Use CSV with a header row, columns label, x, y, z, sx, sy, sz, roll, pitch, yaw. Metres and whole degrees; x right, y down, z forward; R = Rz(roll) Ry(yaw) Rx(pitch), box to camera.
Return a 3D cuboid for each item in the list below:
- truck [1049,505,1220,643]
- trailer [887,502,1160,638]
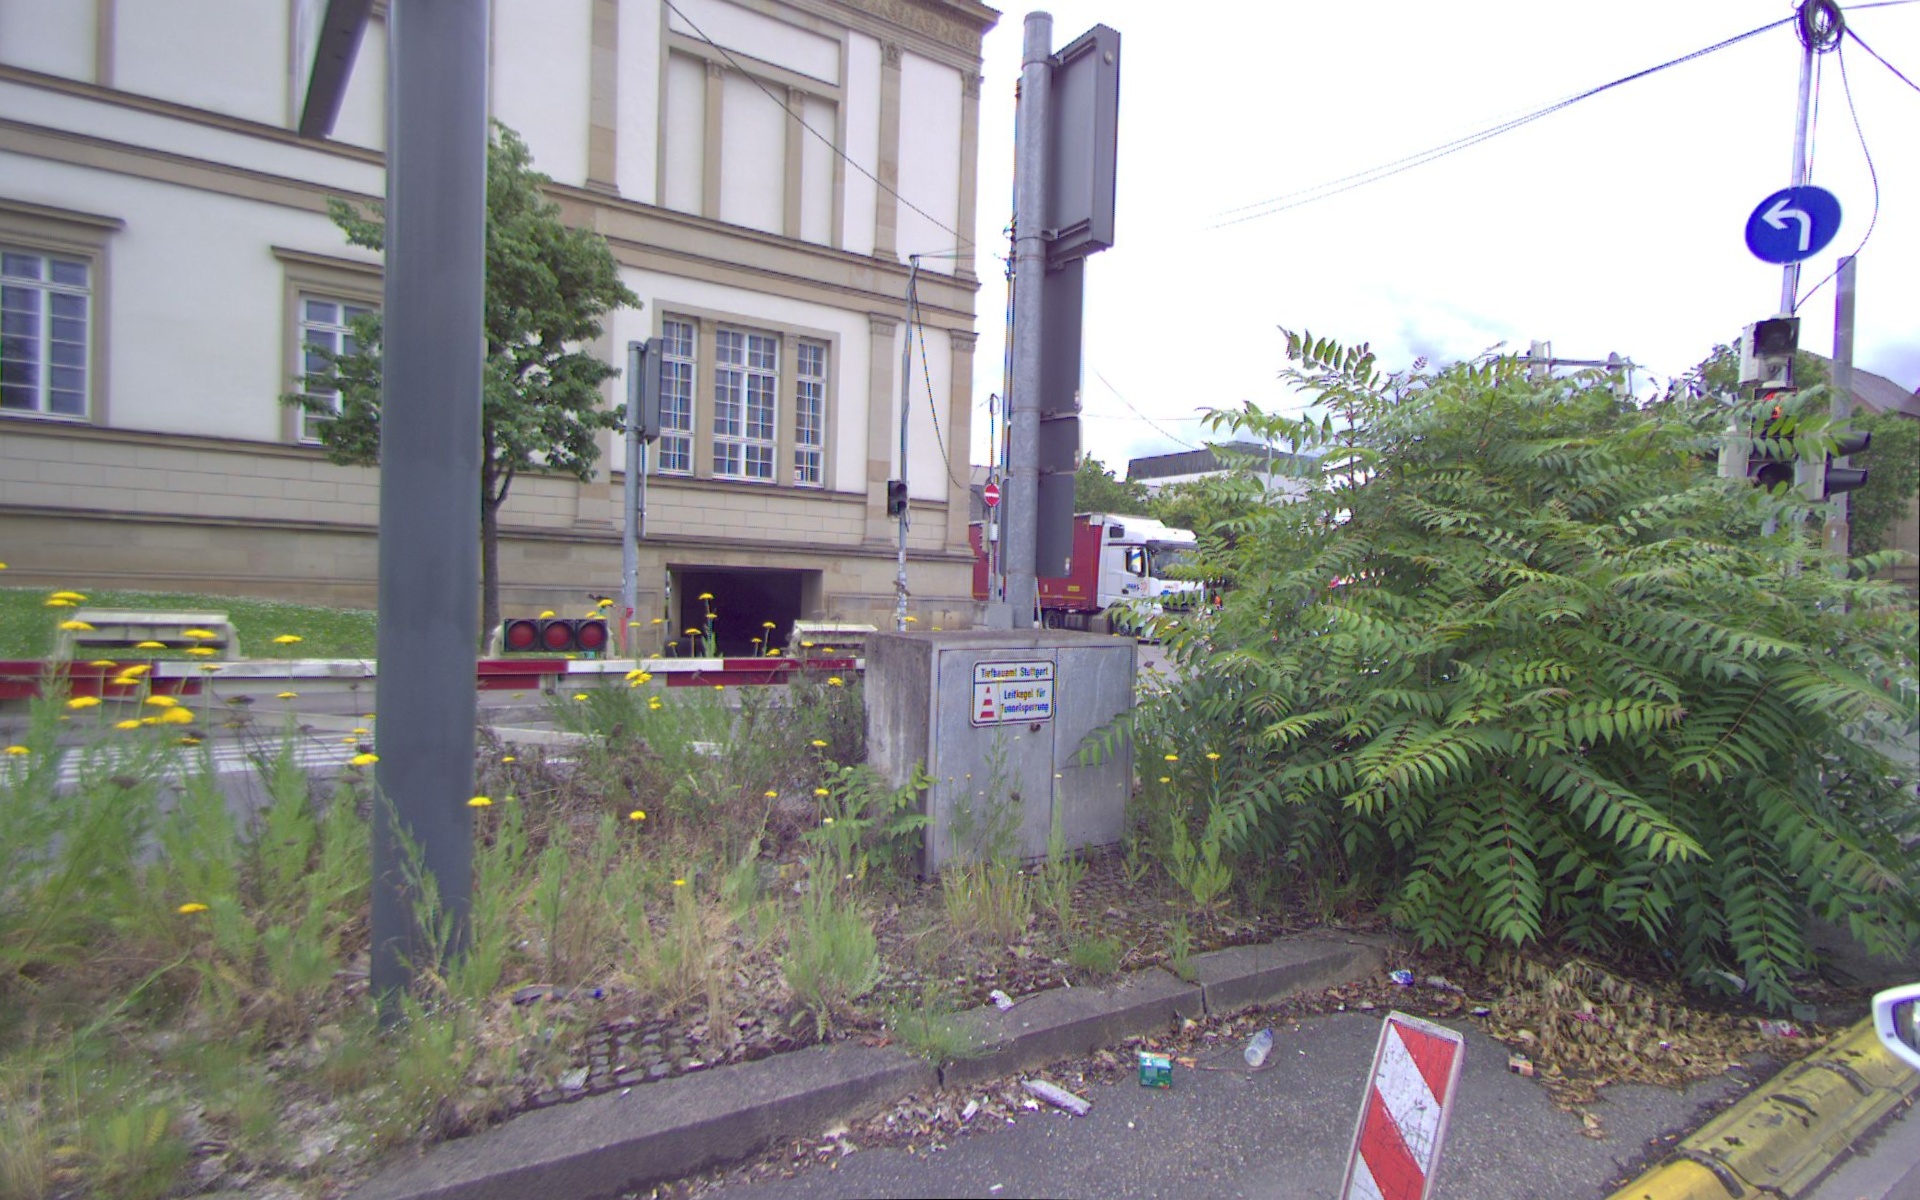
label,x,y,z,sx,sy,sz,roll,pitch,yaw
truck,5.603,-0.763,32.795,2.915,4.118,4.846,2,0,-34
trailer,1.775,-1.004,38.728,2.916,4.338,13.662,2,0,-33
